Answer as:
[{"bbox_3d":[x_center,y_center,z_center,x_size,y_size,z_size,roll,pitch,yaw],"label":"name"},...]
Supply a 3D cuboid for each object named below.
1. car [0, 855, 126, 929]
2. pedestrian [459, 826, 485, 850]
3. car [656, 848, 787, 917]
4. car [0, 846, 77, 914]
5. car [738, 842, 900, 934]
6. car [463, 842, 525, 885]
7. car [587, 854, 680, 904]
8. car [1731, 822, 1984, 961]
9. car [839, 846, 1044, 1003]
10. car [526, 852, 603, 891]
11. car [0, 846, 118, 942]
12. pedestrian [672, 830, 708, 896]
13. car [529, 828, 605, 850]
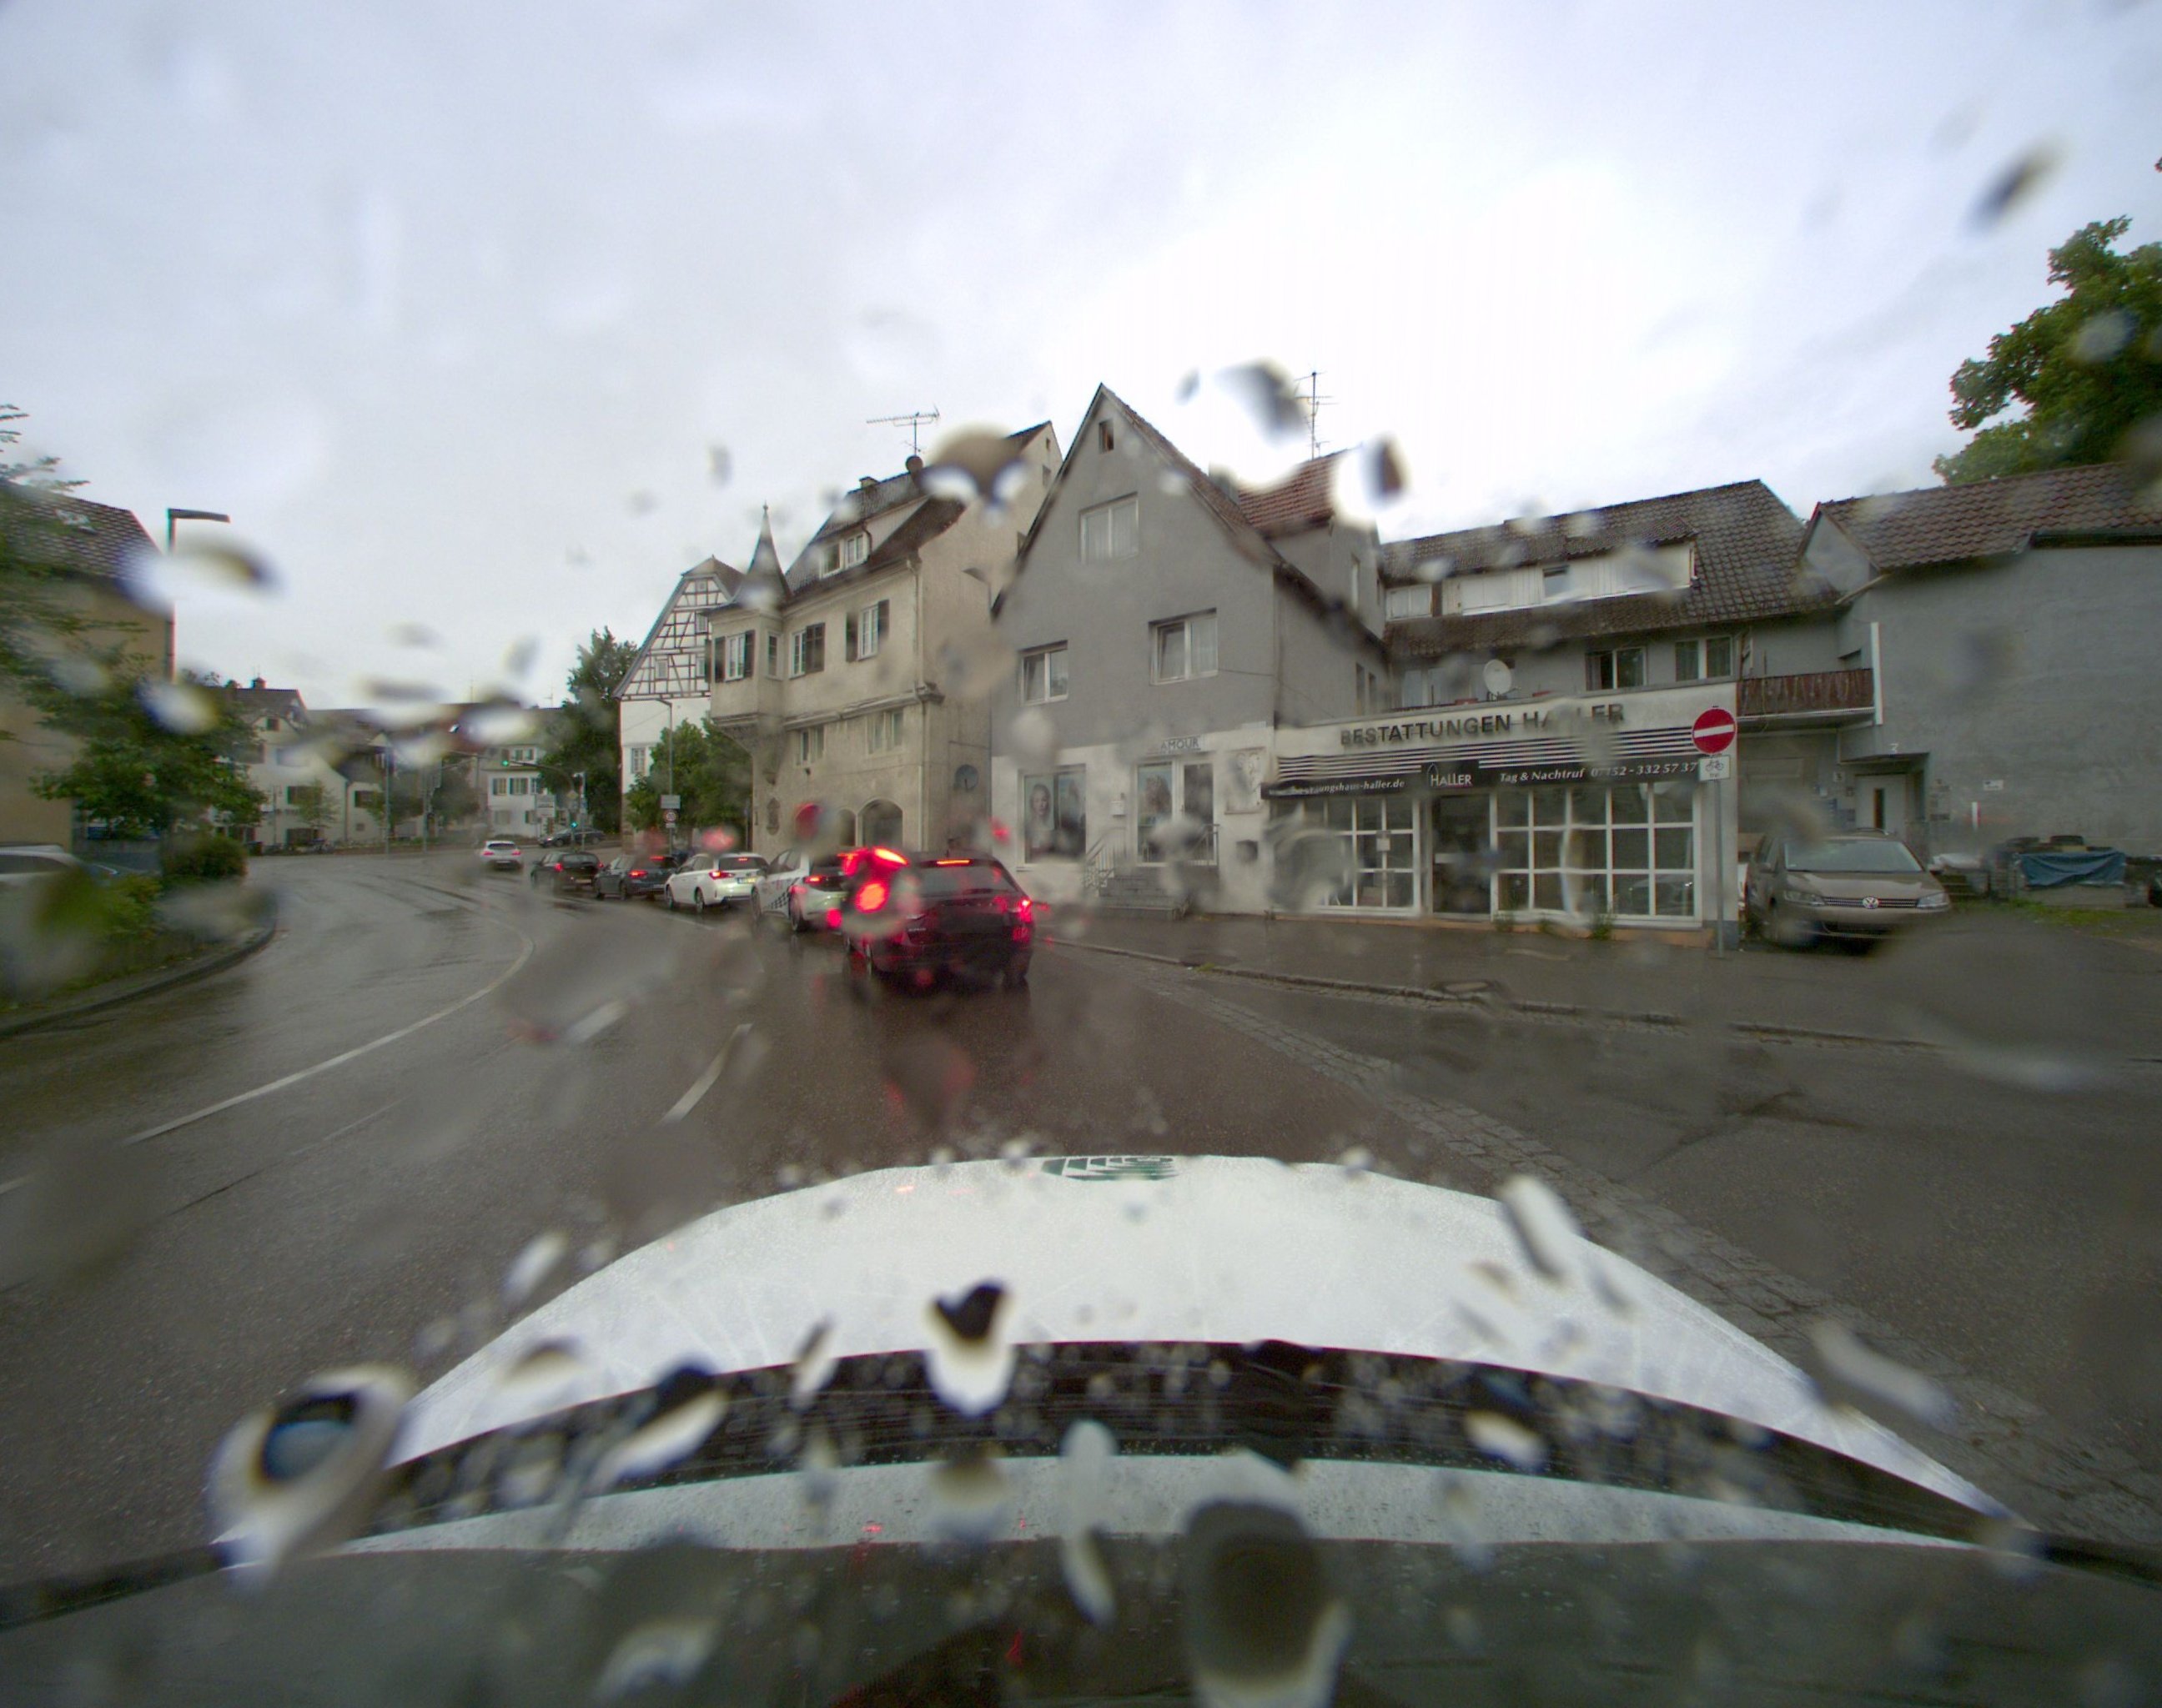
[{"bbox_3d":[-22.400,0.776,16.524,1.692,1.455,3.558,0,1,24],"label":"car"},{"bbox_3d":[-43.580,-1.141,58.286,0.992,1.742,1.156,-1,0,26],"label":"pedestrian"},{"bbox_3d":[-9.151,0.629,20.565,1.801,1.465,4.114,-3,2,-42],"label":"car"},{"bbox_3d":[-26.206,0.619,18.728,1.692,1.576,3.558,0,1,24],"label":"car"},{"bbox_3d":[-5.305,0.579,16.118,1.803,1.517,4.194,-2,1,-36],"label":"car"},{"bbox_3d":[-30.233,0.429,41.913,1.991,2.090,3.912,-3,2,-44],"label":"car"},{"bbox_3d":[-14.143,0.741,25.676,3.721,1.361,1.533,1,2,44],"label":"car"},{"bbox_3d":[11.718,0.400,12.694,1.905,1.727,4.698,-1,2,32],"label":"car"},{"bbox_3d":[-1.948,0.660,10.172,1.738,1.450,4.212,-2,2,-21],"label":"car"},{"bbox_3d":[-19.581,0.626,30.825,3.579,1.312,1.678,1,2,44],"label":"car"},{"bbox_3d":[-20.135,0.724,14.459,1.692,1.685,3.558,0,1,24],"label":"car"},{"bbox_3d":[-14.259,0.323,29.695,0.872,2.326,1.216,-1,0,-40],"label":"pedestrian"},{"bbox_3d":[-37.950,-1.087,60.261,1.632,1.389,4.555,7,3,23],"label":"car"}]
